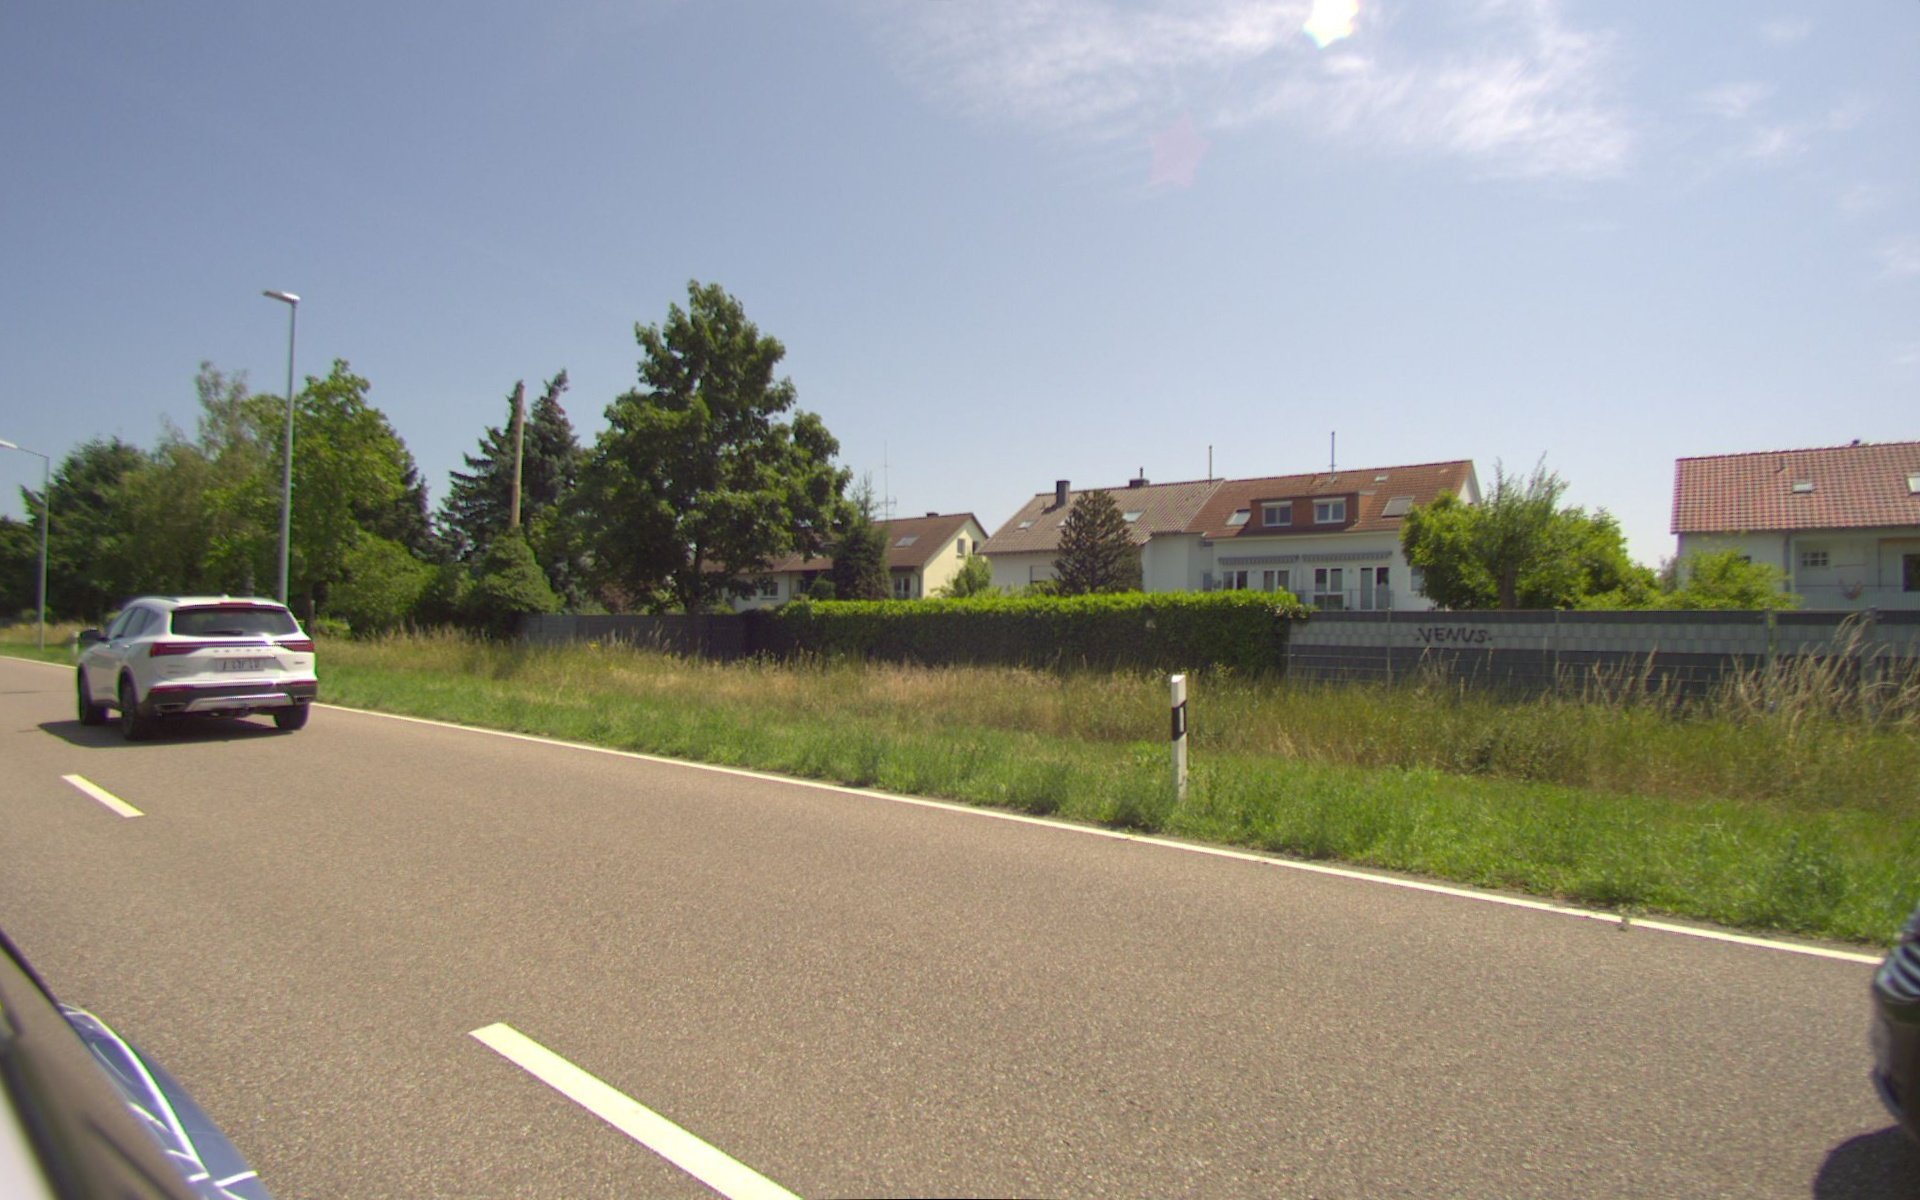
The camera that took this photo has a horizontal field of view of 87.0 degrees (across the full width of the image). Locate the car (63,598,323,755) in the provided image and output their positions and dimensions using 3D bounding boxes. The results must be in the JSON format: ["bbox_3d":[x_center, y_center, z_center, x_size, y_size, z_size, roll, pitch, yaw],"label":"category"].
[{"bbox_3d":[-10.524,0.942,13.739,4.930,1.773,1.820,-2,-3,41],"label":"car"}]
